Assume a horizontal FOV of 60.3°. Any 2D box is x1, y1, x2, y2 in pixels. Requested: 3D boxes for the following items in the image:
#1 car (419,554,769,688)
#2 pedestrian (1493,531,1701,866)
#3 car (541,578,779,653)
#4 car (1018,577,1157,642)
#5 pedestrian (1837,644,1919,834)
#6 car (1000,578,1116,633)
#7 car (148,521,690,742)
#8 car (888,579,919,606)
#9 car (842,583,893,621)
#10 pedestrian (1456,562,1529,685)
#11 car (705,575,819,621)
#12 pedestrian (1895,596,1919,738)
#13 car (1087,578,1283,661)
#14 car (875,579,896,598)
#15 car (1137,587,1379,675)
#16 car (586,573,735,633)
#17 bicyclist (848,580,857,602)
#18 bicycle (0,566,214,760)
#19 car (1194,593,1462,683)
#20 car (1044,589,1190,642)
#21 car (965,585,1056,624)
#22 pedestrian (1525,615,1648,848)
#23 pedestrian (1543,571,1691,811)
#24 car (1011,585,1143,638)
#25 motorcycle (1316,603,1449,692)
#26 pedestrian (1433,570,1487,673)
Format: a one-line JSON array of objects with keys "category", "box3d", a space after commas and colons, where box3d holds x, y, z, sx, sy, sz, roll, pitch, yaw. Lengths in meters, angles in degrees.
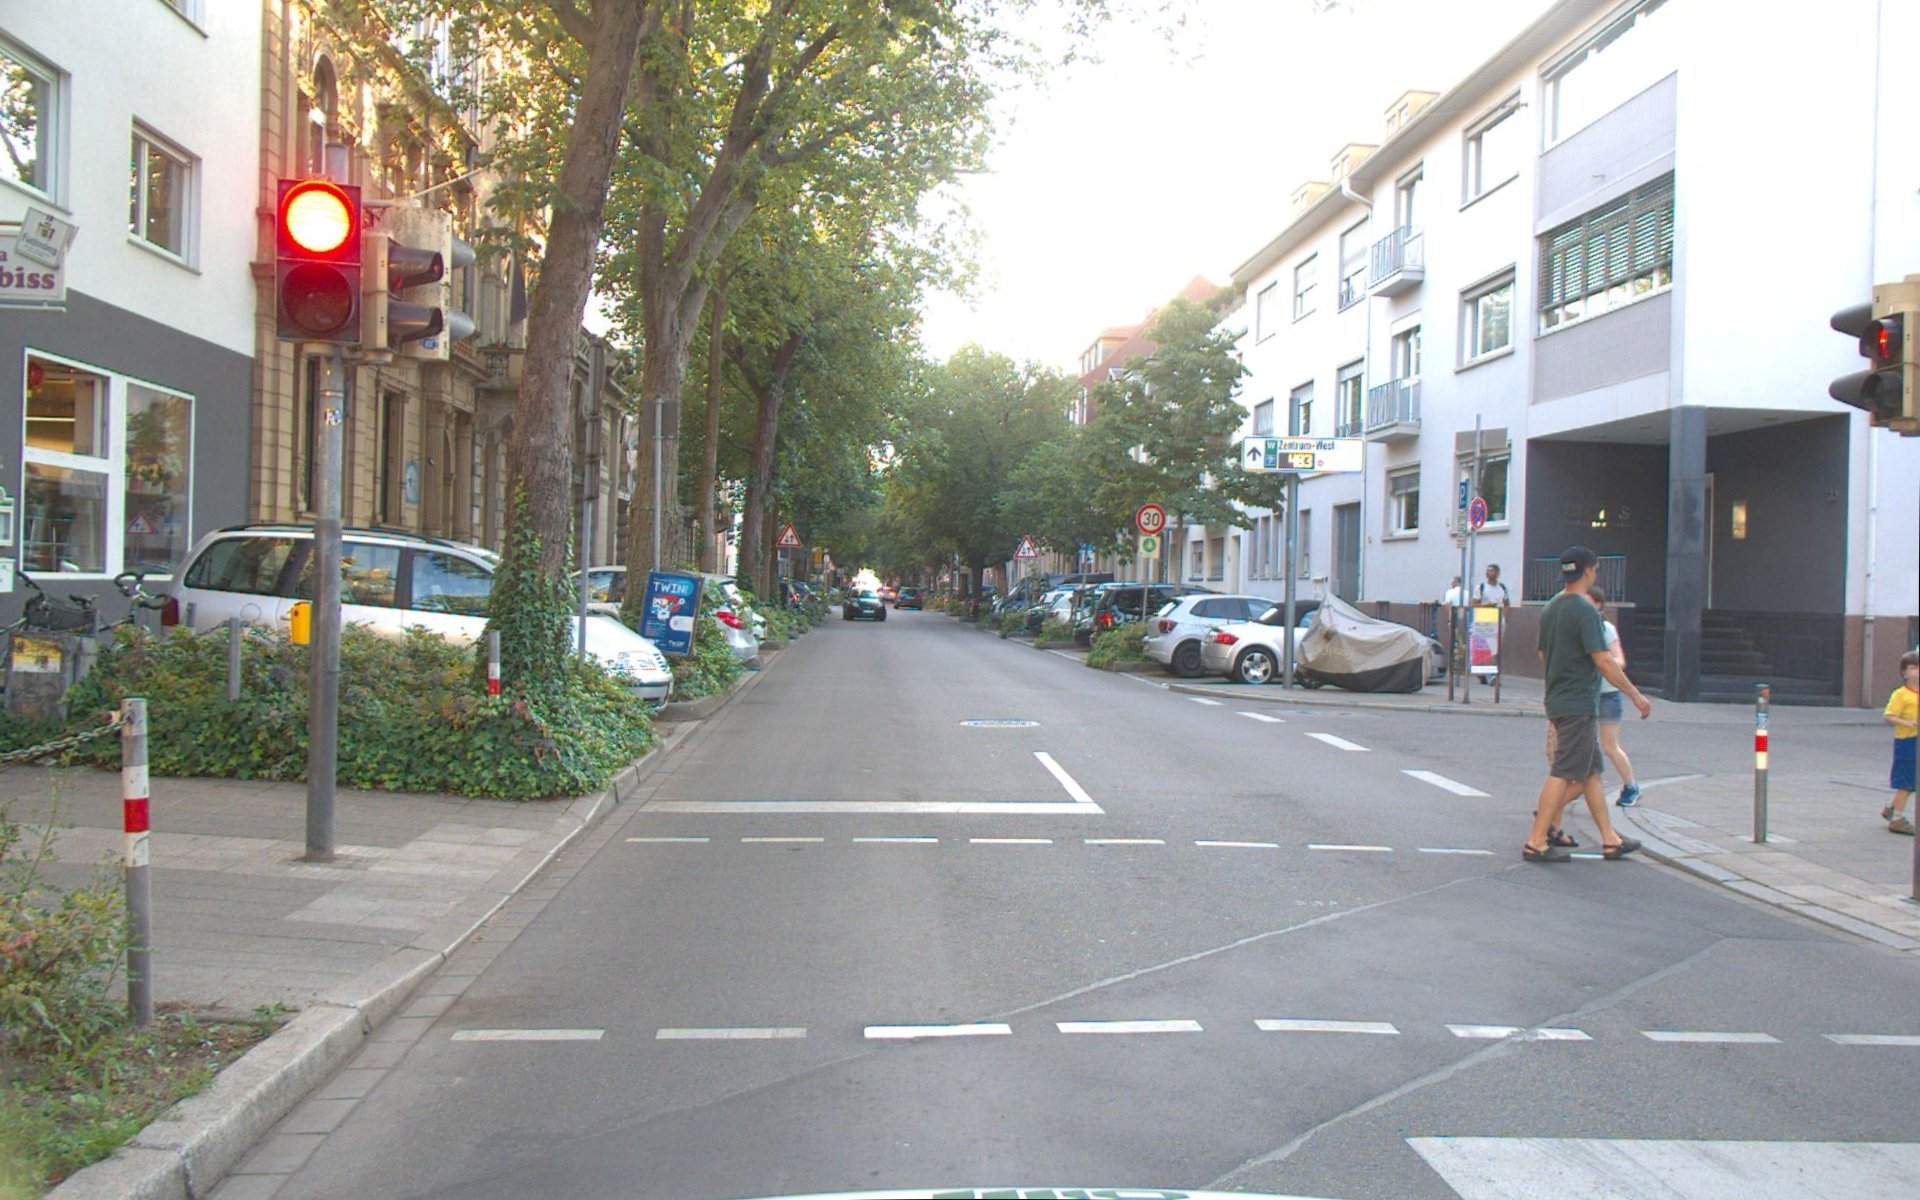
[{"category": "car", "box3d": [-4.965, 0.277, 22.926, 4.457, 1.718, 1.832, 1, 0, -3]}, {"category": "pedestrian", "box3d": [3.681, 0.544, 9.627, 0.870, 1.847, 0.794, 1, 0, 2]}, {"category": "car", "box3d": [-5.940, 0.302, 33.169, 4.457, 1.396, 1.832, 1, 0, -3]}, {"category": "car", "box3d": [3.772, 0.273, 49.341, 3.935, 1.847, 1.706, 1, 0, -4]}, {"category": "pedestrian", "box3d": [6.157, 0.873, 10.581, 0.555, 1.140, 0.834, 0, 1, -13]}, {"category": "car", "box3d": [3.496, 0.194, 59.477, 3.935, 1.862, 1.706, 2, 0, -4]}, {"category": "car", "box3d": [-4.836, 0.284, 15.374, 4.460, 1.867, 1.831, 1, 0, -6]}, {"category": "car", "box3d": [-3.630, -0.492, 105.809, 1.789, 1.589, 4.024, 3, 0, -4]}, {"category": "car", "box3d": [-4.213, 0.071, 75.066, 1.869, 1.605, 3.983, 2, 0, -9]}, {"category": "pedestrian", "box3d": [8.351, 0.362, 25.967, 0.751, 1.873, 0.943, 2, 1, -3]}, {"category": "car", "box3d": [-8.090, -0.094, 67.902, 4.457, 1.721, 1.832, 2, 0, -3]}, {"category": "pedestrian", "box3d": [10.705, 0.718, 17.921, 0.794, 1.527, 0.765, 0, 0, -39]}, {"category": "car", "box3d": [4.836, 0.413, 35.867, 3.935, 1.720, 1.706, 1, 0, -4]}, {"category": "car", "box3d": [-7.103, -1.088, 157.501, 1.886, 1.689, 3.997, 1, 0, -4]}, {"category": "car", "box3d": [5.250, 0.532, 29.425, 3.935, 1.467, 1.706, 1, 0, -4]}, {"category": "car", "box3d": [-8.524, 0.086, 47.305, 3.958, 1.618, 1.832, 1, 0, -3]}, {"category": "bicyclist", "box3d": [-7.463, -0.629, 114.771, 0.561, 1.495, 0.641, 2, -1, -9]}, {"category": "bicycle", "box3d": [-6.260, 0.383, 11.806, 0.720, 1.207, 2.633, 3, 0, -2]}, {"category": "car", "box3d": [5.919, 0.595, 26.862, 3.934, 1.366, 1.706, 1, 0, -3]}, {"category": "car", "box3d": [4.431, 0.418, 47.075, 3.935, 1.434, 1.706, 1, 0, -4]}, {"category": "car", "box3d": [2.255, 0.184, 74.412, 3.935, 1.629, 1.706, 2, 0, -4]}, {"category": "pedestrian", "box3d": [3.812, 0.784, 10.092, 0.528, 1.359, 0.506, 2, 0, 2]}, {"category": "pedestrian", "box3d": [4.627, 0.605, 11.623, 0.688, 1.584, 0.976, 2, 1, 37]}, {"category": "car", "box3d": [3.662, 0.350, 52.195, 3.935, 1.556, 1.706, 2, 0, -4]}, {"category": "motorcycle", "box3d": [6.021, 0.663, 23.628, 1.762, 1.220, 0.613, 1, 0, 6]}, {"category": "pedestrian", "box3d": [8.854, 0.365, 29.310, 0.689, 1.782, 0.699, 2, 1, 1]}]
